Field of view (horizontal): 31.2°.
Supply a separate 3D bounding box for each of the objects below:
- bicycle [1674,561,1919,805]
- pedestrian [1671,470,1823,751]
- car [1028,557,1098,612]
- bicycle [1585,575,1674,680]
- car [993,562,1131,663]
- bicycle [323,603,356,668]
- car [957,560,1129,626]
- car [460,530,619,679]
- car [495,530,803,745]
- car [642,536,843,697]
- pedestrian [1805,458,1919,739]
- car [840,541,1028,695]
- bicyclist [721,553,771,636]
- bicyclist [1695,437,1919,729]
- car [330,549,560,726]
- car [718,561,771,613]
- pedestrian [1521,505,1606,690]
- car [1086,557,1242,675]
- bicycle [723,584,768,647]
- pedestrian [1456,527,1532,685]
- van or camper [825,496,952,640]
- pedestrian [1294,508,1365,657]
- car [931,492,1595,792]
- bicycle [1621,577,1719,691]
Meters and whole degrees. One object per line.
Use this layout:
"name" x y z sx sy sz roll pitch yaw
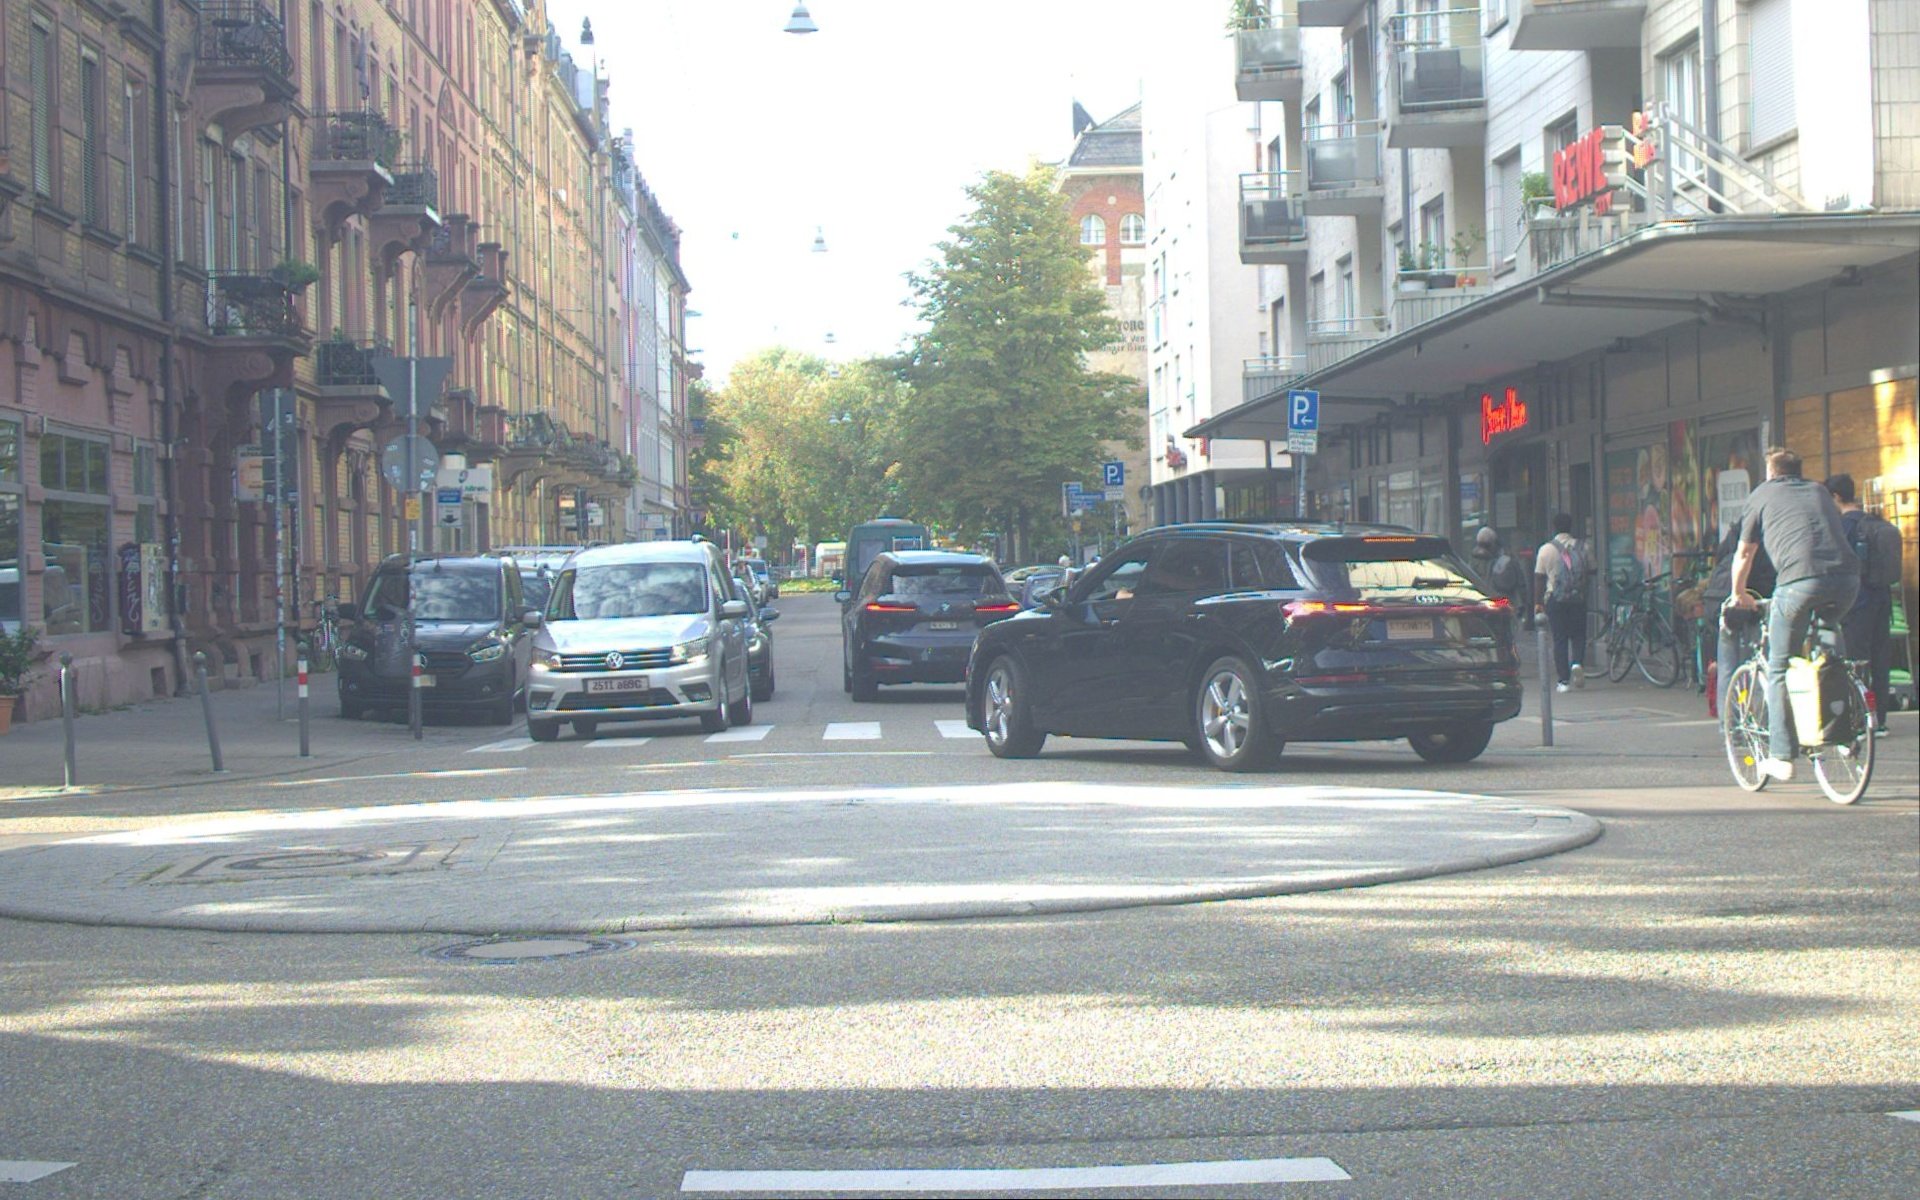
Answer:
"bicycle" 4.384 0.387 17.811 0.665 1.174 2.497 0 1 -5
"pedestrian" 5.287 0.067 23.136 0.869 1.845 0.612 -1 1 4
"car" 2.731 -0.424 91.639 1.645 1.320 3.576 -4 1 0
"bicycle" 6.564 0.256 33.757 0.360 0.995 1.716 -1 1 -6
"car" 1.581 0.163 54.615 1.993 1.481 4.000 -2 1 -1
"bicycle" -9.482 0.532 52.550 0.360 0.944 1.716 0 1 -6
"car" 2.011 -0.188 83.972 3.986 1.481 2.000 -2 1 -4
"car" -6.027 0.038 49.699 1.993 2.007 4.001 -2 1 -4
"car" -2.801 0.286 32.053 1.793 1.784 4.734 -2 1 8
"car" -2.520 0.151 40.939 1.928 1.719 4.736 -3 1 1
"pedestrian" 6.170 -0.017 22.996 0.869 1.845 0.612 -1 1 4
"car" -0.340 0.168 39.127 1.993 1.612 4.000 -1 1 -2
"bicyclist" -5.189 -0.137 83.340 1.132 1.991 1.028 1 0 -6
"bicyclist" 4.374 -0.089 17.798 0.933 1.479 0.747 0 0 -5
"car" -5.576 0.352 37.713 1.782 1.718 4.445 0 2 1
"car" -8.663 -0.537 138.443 1.993 2.007 4.000 -1 1 -2
"pedestrian" 5.676 -0.030 32.341 0.741 1.707 0.733 -1 1 10
"car" 2.520 0.169 43.078 1.645 1.320 3.576 -4 1 0
"bicycle" -5.207 0.354 83.357 0.925 1.484 3.465 1 0 -6
"pedestrian" 5.588 0.060 35.939 0.745 1.623 0.812 -1 1 10
"van or camper" -1.625 -0.716 76.269 2.531 3.027 4.459 -1 1 -4
"pedestrian" 4.718 -0.227 43.884 0.731 1.858 1.062 -1 1 14
"car" 1.899 0.218 23.297 2.036 1.718 4.846 -4 2 -29
"bicycle" 6.474 0.299 31.396 0.362 1.013 1.431 -1 1 -10
